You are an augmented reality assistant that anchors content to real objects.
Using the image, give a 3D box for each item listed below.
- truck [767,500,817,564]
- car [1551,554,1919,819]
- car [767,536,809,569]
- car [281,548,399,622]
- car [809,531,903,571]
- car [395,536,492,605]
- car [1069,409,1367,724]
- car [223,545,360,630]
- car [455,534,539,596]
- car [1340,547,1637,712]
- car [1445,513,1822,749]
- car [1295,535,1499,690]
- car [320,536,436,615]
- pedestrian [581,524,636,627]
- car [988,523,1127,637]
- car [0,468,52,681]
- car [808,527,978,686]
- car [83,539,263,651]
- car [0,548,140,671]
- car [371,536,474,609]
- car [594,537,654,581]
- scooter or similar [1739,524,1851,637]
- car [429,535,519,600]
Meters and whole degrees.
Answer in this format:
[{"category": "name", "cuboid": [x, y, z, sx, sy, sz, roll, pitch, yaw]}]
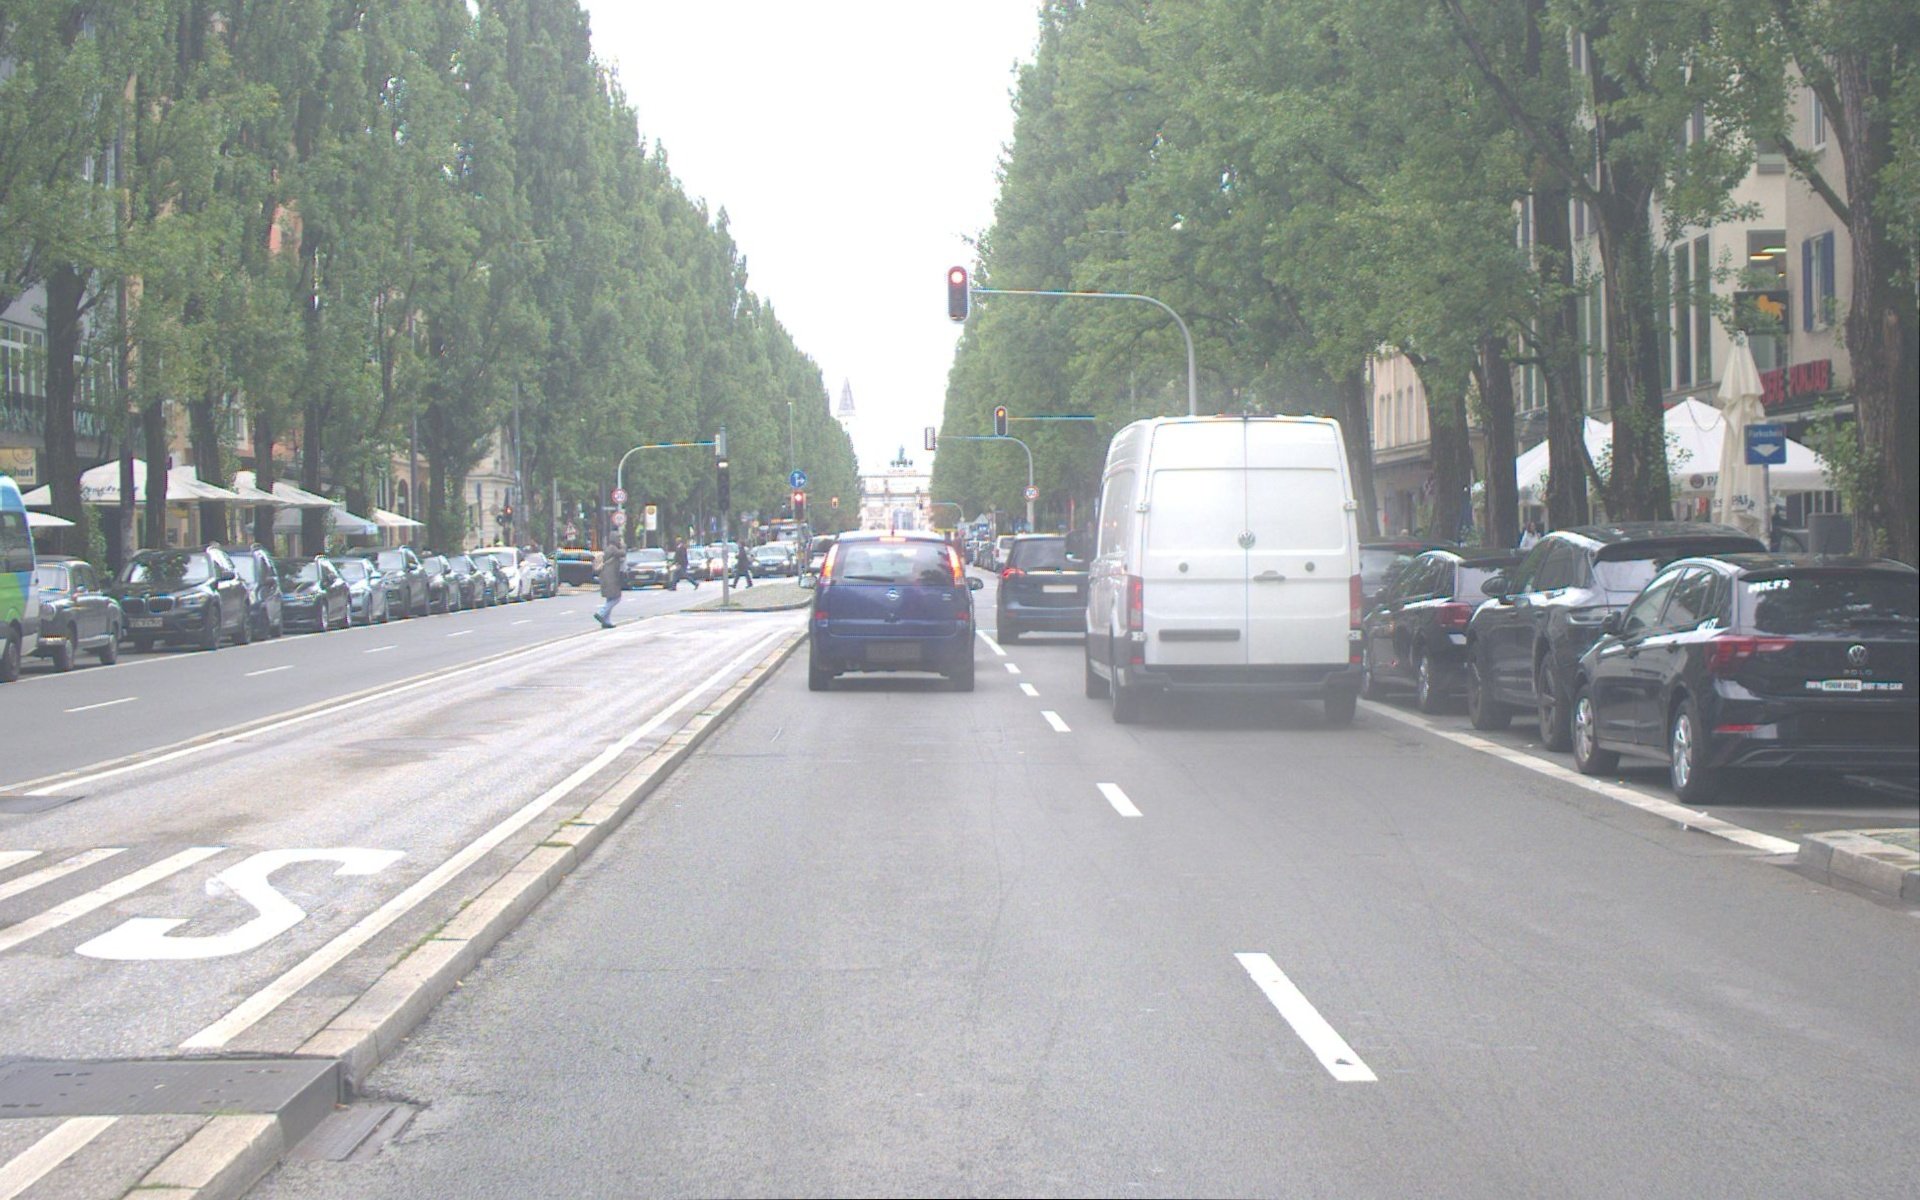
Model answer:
[{"category": "truck", "cuboid": [-8.932, -3.617, 183.168, 2.383, 3.335, 7.111, -1, 1, -1]}, {"category": "car", "cuboid": [4.857, 0.445, 20.813, 1.694, 1.411, 3.952, 0, 1, -3]}, {"category": "car", "cuboid": [-7.696, -2.131, 153.898, 1.735, 1.460, 3.365, -1, 1, -1]}, {"category": "car", "cuboid": [-12.945, -0.337, 71.948, 1.733, 1.421, 4.144, -2, 1, -1]}, {"category": "car", "cuboid": [-4.210, -1.976, 139.144, 3.353, 1.555, 1.741, -1, 1, -24]}, {"category": "car", "cuboid": [-13.311, -0.780, 88.800, 1.866, 1.660, 4.120, -2, 1, -1]}, {"category": "car", "cuboid": [2.149, -0.335, 30.580, 2.063, 2.484, 6.731, 0, 1, -1]}, {"category": "car", "cuboid": [-12.879, -0.266, 66.444, 1.798, 1.483, 4.351, -2, 1, -1]}, {"category": "car", "cuboid": [-13.388, -1.034, 99.587, 1.866, 1.660, 4.120, -2, 1, -1]}, {"category": "car", "cuboid": [4.757, 0.216, 31.526, 1.709, 1.388, 4.344, 0, 1, -5]}, {"category": "car", "cuboid": [4.997, 0.182, 26.137, 1.803, 1.632, 4.448, 0, 1, -2]}, {"category": "car", "cuboid": [4.443, 0.100, 35.256, 1.592, 1.513, 2.730, 1, 1, -3]}, {"category": "car", "cuboid": [-13.093, -0.578, 77.567, 1.866, 1.660, 4.401, -2, 1, -1]}, {"category": "pedestrian", "cuboid": [-5.814, -0.409, 56.821, 0.859, 1.678, 0.627, -1, 1, -4]}, {"category": "car", "cuboid": [1.407, -0.327, 50.953, 1.896, 1.616, 4.000, 0, 1, -1]}, {"category": "car", "cuboid": [-12.527, -0.249, 40.197, 2.005, 2.559, 6.912, -2, 1, -1]}, {"category": "car", "cuboid": [-0.685, 0.027, 35.785, 1.671, 1.563, 4.000, 0, 1, -1]}, {"category": "car", "cuboid": [-12.671, -0.117, 55.636, 1.866, 1.658, 4.611, -2, 1, -1]}, {"category": "car", "cuboid": [-12.737, 0.113, 47.303, 1.866, 1.546, 4.415, -2, 1, -1]}, {"category": "car", "cuboid": [-13.107, -0.692, 84.063, 1.866, 1.660, 4.120, -2, 1, -1]}, {"category": "car", "cuboid": [-11.986, -1.484, 122.688, 1.697, 1.457, 4.713, -2, 1, -1]}, {"category": "scooter or similar", "cuboid": [10.854, -0.270, 44.777, 0.636, 1.371, 2.496, -2, 2, -5]}, {"category": "car", "cuboid": [-13.307, -0.899, 94.326, 1.866, 1.660, 4.120, -2, 1, -1]}]
